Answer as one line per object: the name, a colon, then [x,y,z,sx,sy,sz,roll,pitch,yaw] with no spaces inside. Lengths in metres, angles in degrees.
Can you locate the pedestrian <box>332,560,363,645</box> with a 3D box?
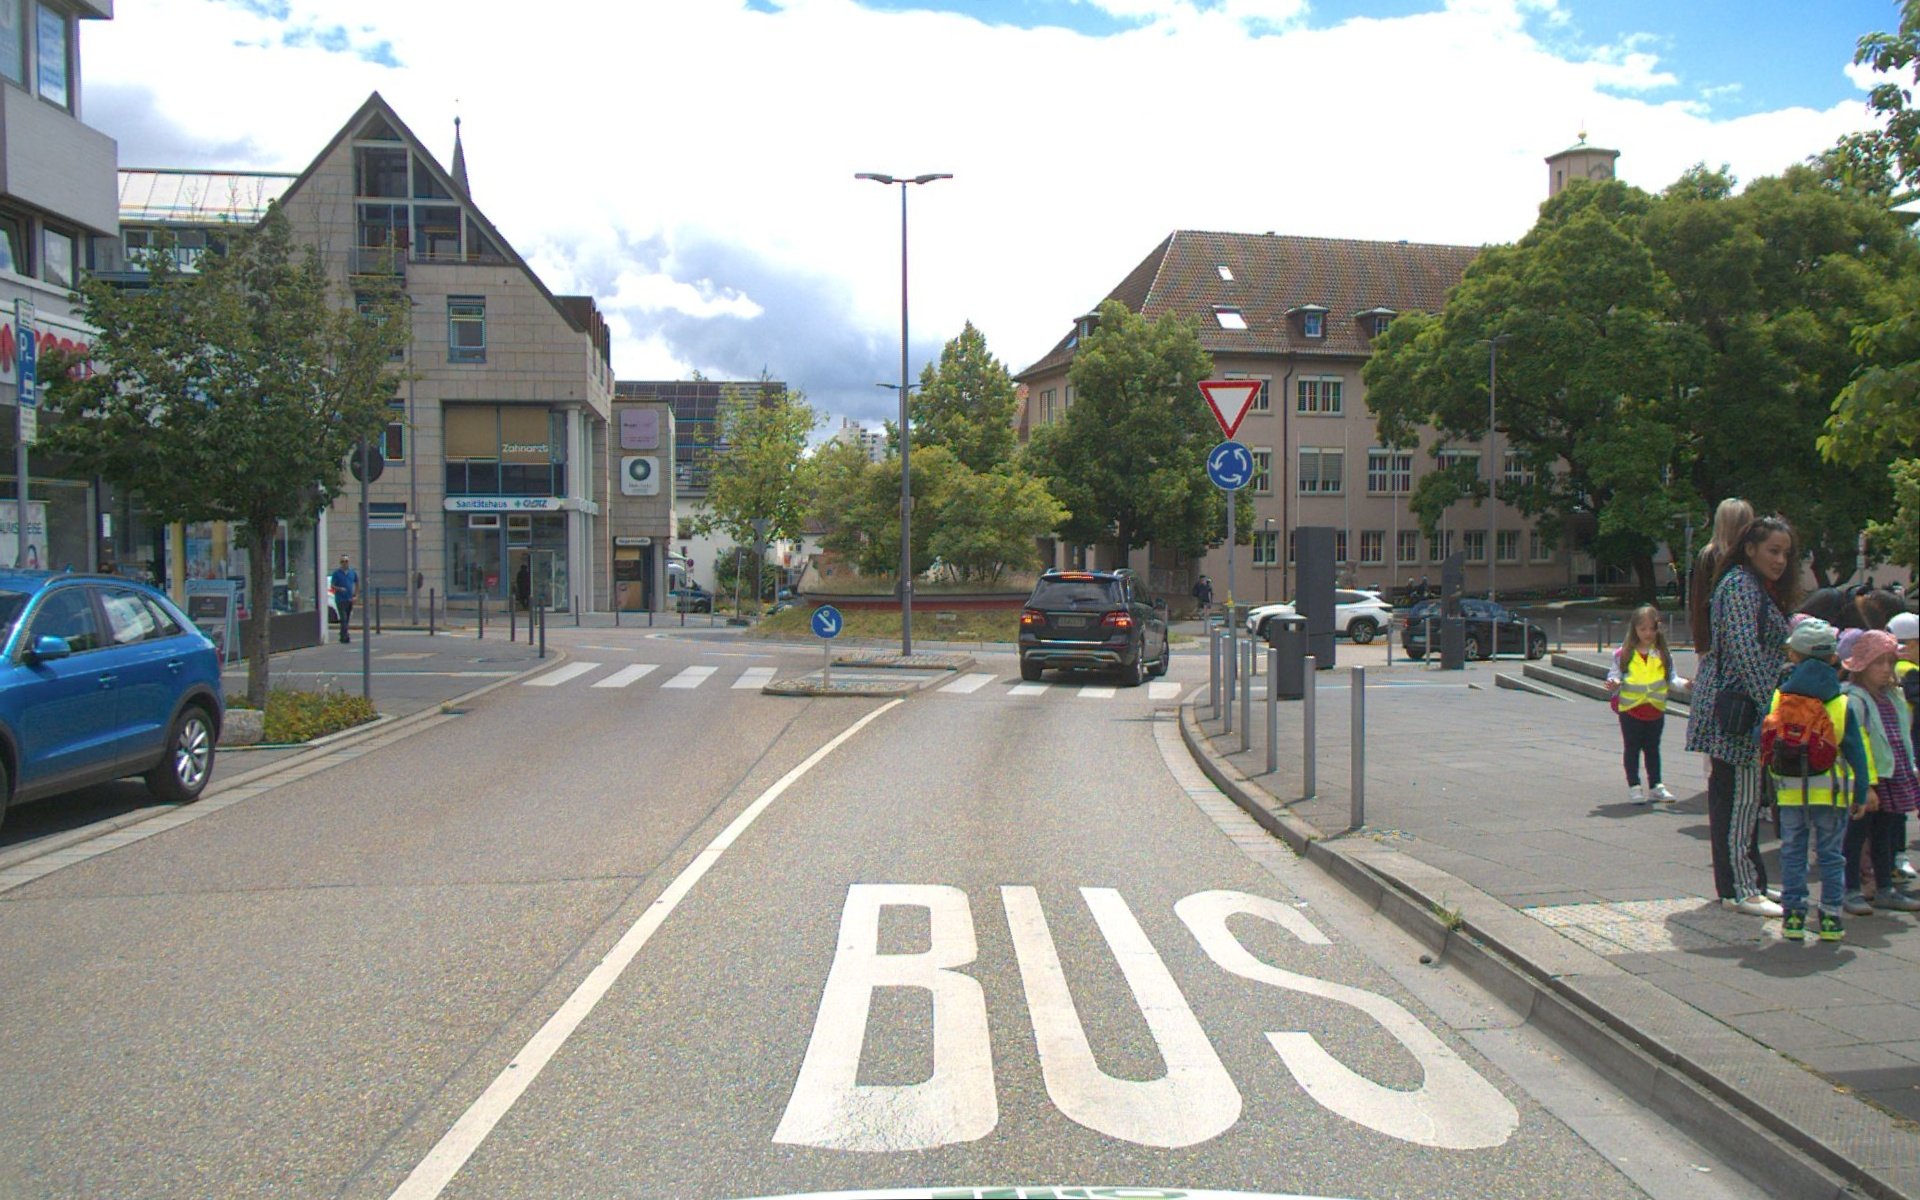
pedestrian: [-11.857,0.044,31.996,0.559,1.631,0.602,0,1,-22]

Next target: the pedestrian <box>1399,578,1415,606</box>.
pedestrian: [19.708,-0.351,72.898,0.478,1.203,0.579,2,1,34]

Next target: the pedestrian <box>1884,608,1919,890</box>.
pedestrian: [4.165,0.626,7.009,0.316,1.172,0.317,-3,0,-41]

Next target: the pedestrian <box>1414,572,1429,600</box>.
pedestrian: [20.426,-0.610,73.223,0.478,1.243,0.579,2,1,34]

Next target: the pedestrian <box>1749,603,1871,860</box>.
pedestrian: [4.082,0.620,7.945,0.332,1.187,0.347,-2,-1,-33]

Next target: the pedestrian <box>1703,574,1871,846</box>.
pedestrian: [4.247,0.546,8.504,0.428,1.326,0.592,-3,0,-35]

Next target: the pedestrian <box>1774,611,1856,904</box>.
pedestrian: [3.558,0.643,6.883,0.258,1.181,0.271,-2,0,28]

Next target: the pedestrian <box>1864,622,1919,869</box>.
pedestrian: [4.288,0.652,7.492,0.246,1.087,0.251,-2,0,15]

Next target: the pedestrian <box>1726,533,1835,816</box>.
pedestrian: [4.606,0.410,9.299,0.381,1.543,0.390,-2,0,5]

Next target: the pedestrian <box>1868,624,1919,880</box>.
pedestrian: [4.200,0.657,7.257,0.245,1.087,0.252,-2,0,-6]

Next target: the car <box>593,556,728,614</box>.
car: [-14.748,-0.704,81.437,6.200,2.605,2.190,2,-3,-23]

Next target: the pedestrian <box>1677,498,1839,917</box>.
pedestrian: [3.269,0.426,6.799,0.379,1.648,0.469,-2,0,0]

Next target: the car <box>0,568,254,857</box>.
car: [-6.298,0.621,10.523,1.659,1.627,4.332,2,0,0]

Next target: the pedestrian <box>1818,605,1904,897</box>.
pedestrian: [3.809,0.626,6.991,0.247,1.194,0.250,-2,0,37]

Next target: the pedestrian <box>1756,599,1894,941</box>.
pedestrian: [3.293,0.629,6.315,0.394,1.247,0.388,-1,0,20]

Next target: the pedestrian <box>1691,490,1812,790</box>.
pedestrian: [5.037,0.252,10.543,0.528,1.855,0.436,-2,0,10]

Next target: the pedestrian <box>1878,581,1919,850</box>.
pedestrian: [4.653,0.538,7.882,0.316,1.259,0.334,-3,0,2]

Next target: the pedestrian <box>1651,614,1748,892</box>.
pedestrian: [3.206,0.656,7.177,0.269,1.172,0.248,-2,0,2]

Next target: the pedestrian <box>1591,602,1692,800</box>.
pedestrian: [4.278,0.624,10.387,0.467,1.192,0.389,-2,0,36]

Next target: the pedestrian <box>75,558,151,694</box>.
pedestrian: [-10.306,0.310,20.141,0.575,1.616,0.638,1,0,-1]

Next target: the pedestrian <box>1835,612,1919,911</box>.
pedestrian: [3.776,0.643,6.696,0.291,1.172,0.293,-2,0,8]

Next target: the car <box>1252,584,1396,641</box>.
car: [11.049,0.362,50.203,4.164,1.604,1.851,-1,0,14]

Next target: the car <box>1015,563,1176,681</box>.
car: [2.312,0.315,27.068,1.984,1.757,4.437,0,0,13]

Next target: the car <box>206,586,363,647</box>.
car: [-18.822,0.435,46.238,3.805,1.558,1.653,-2,0,-14]

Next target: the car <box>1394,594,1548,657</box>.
car: [12.181,0.565,39.333,3.795,1.407,1.593,0,1,-37]

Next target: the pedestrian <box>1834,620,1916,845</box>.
pedestrian: [4.538,0.650,8.210,0.245,1.087,0.252,-2,0,9]

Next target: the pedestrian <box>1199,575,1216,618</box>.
pedestrian: [9.668,-0.153,64.522,0.560,1.636,0.438,2,5,18]

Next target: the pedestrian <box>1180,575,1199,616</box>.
pedestrian: [8.964,-0.168,64.676,0.623,1.549,0.578,2,5,15]
